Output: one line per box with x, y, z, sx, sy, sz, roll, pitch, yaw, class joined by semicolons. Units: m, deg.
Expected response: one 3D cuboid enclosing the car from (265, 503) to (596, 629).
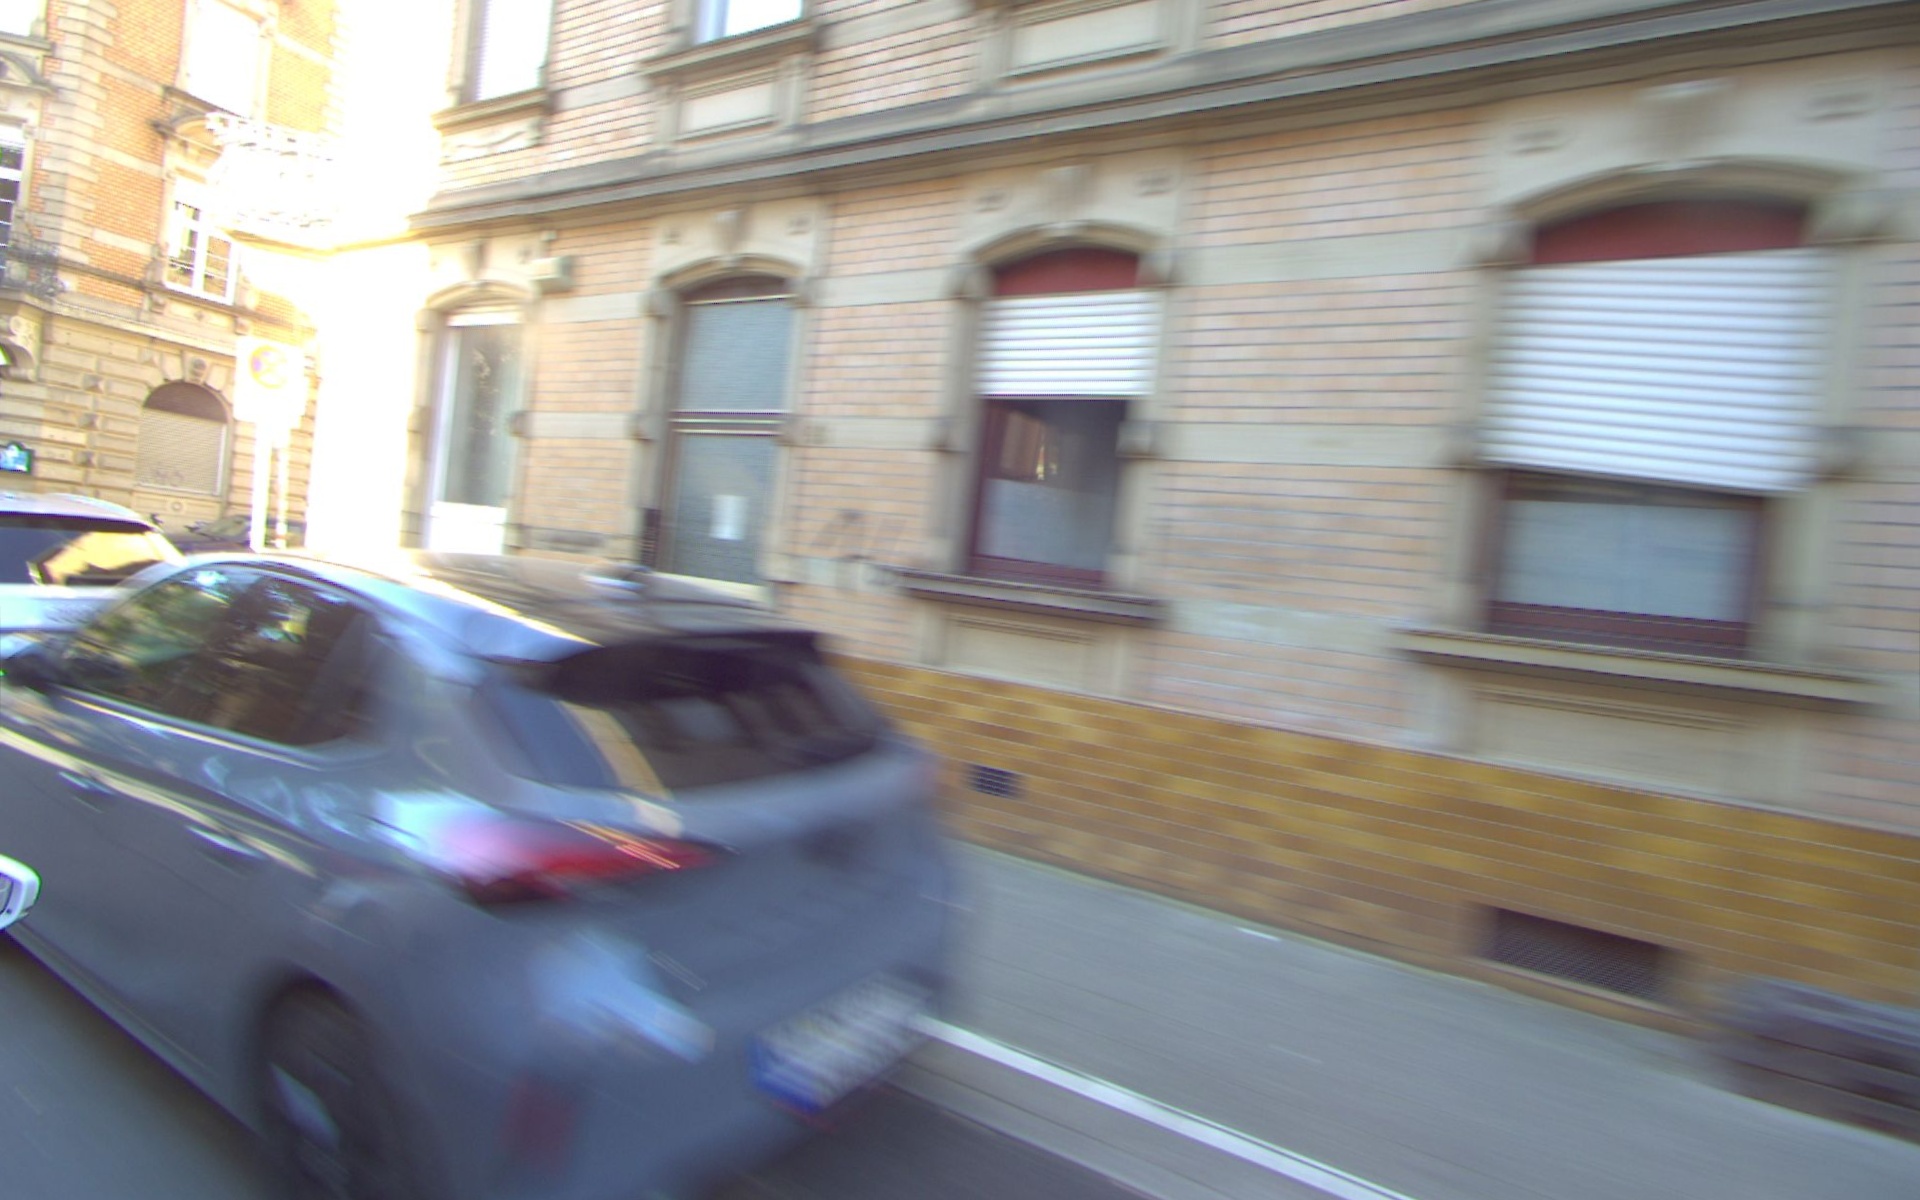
-7.929;-0.431;15.534;1.737;1.489;4.249;7;1;25;car

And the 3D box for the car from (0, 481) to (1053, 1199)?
-1.855;0.544;3.269;3.823;1.498;1.668;8;1;32;car

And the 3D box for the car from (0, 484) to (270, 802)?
-6.207;-0.003;5.996;4.436;1.476;1.709;7;-1;32;car

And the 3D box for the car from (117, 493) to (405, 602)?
-12.861;-0.908;18.756;1.704;1.470;3.984;8;1;32;car

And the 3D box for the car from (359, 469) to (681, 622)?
-10.034;-1.100;23.796;2.032;2.685;6.815;10;2;31;car

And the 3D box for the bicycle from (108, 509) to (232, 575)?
-15.414;-1.107;19.666;0.525;1.068;1.777;7;1;30;bicycle
